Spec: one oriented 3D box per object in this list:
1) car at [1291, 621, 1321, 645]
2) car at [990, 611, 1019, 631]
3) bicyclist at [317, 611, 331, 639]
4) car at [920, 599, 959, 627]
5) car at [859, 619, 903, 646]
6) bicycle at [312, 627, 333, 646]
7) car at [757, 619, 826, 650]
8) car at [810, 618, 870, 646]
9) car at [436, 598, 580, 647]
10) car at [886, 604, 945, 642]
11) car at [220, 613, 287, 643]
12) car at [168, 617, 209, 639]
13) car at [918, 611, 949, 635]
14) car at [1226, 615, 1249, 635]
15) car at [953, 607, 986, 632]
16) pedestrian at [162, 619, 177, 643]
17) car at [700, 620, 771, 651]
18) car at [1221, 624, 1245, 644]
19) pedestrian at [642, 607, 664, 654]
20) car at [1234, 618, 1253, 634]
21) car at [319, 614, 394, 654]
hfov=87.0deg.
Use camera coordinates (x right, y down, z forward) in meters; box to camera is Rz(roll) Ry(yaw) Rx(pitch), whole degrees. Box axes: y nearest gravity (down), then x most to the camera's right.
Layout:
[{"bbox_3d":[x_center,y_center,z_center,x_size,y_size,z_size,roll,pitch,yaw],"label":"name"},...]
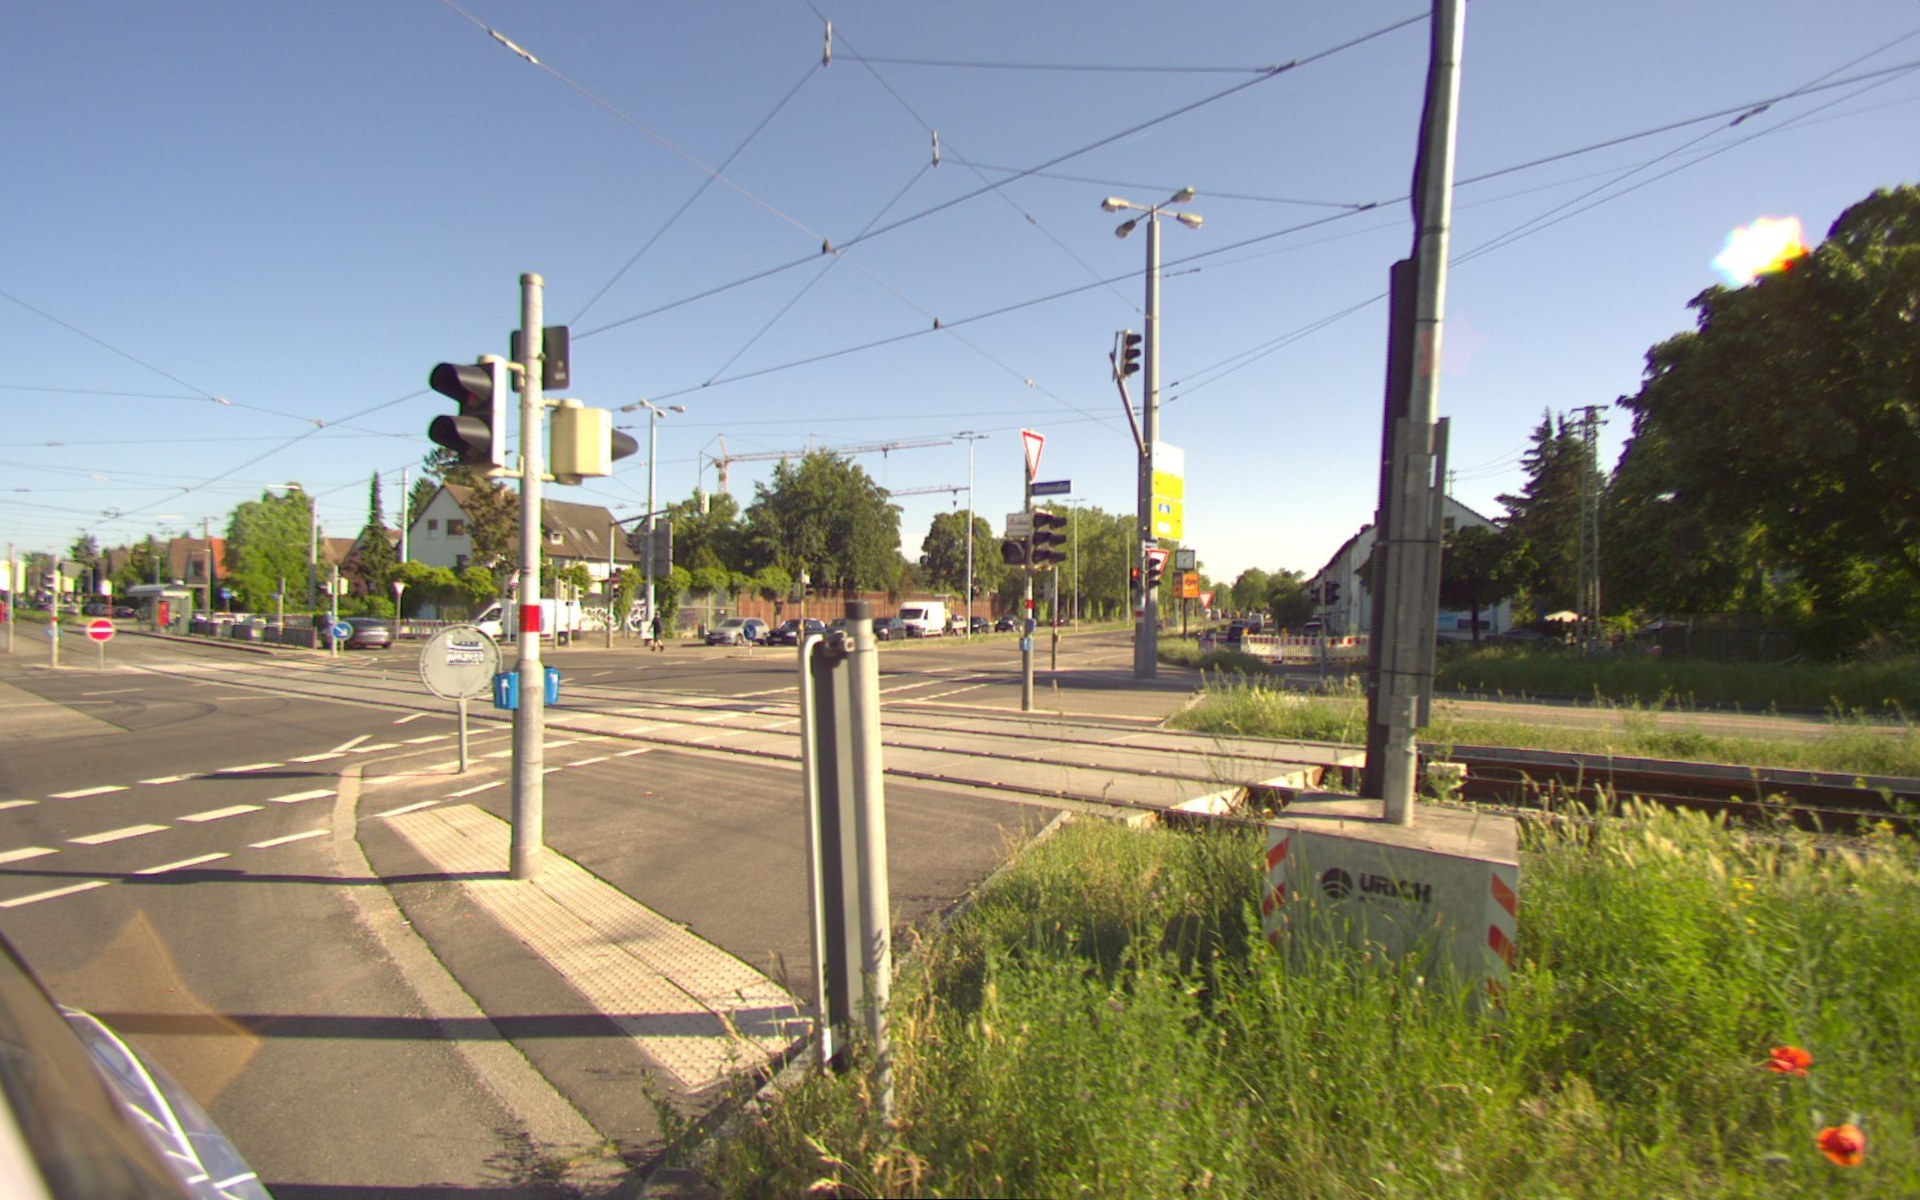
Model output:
[{"bbox_3d":[25.648,2.415,75.140,1.983,1.775,3.978,0,-1,17],"label":"car"},{"bbox_3d":[4.000,1.889,90.565,1.791,1.755,3.982,-1,-1,14],"label":"car"},{"bbox_3d":[-36.076,1.421,57.396,0.648,1.620,0.484,-1,-2,43],"label":"bicyclist"},{"bbox_3d":[-1.479,0.965,74.655,1.791,2.029,3.980,0,-1,15],"label":"car"},{"bbox_3d":[-4.843,1.986,62.315,1.485,1.579,3.507,-1,-1,17],"label":"car"},{"bbox_3d":[-36.295,2.069,57.587,1.949,1.050,0.501,-1,-2,43],"label":"bicycle"},{"bbox_3d":[-8.597,1.732,51.901,1.920,1.477,4.227,0,-1,15],"label":"car"},{"bbox_3d":[-6.746,1.794,57.127,1.920,1.477,4.237,-1,-1,15],"label":"car"},{"bbox_3d":[-23.878,1.190,53.575,6.751,2.476,2.356,1,-1,-27],"label":"car"},{"bbox_3d":[-2.948,1.568,68.799,2.163,2.429,5.887,0,-1,17],"label":"car"},{"bbox_3d":[-39.264,1.541,56.187,4.687,1.608,1.795,-1,-1,39],"label":"car"},{"bbox_3d":[-53.999,1.963,70.790,3.703,1.469,1.665,-1,-2,43],"label":"car"},{"bbox_3d":[-2.219,1.952,85.753,1.977,2.029,3.990,0,-1,8],"label":"car"},{"bbox_3d":[25.902,2.335,94.466,1.983,1.775,3.978,0,-1,16],"label":"car"},{"bbox_3d":[0.815,1.578,82.575,1.791,2.029,3.982,0,-1,14],"label":"car"},{"bbox_3d":[-48.038,1.878,61.495,0.711,1.425,0.615,-1,-2,41],"label":"pedestrian"},{"bbox_3d":[-11.604,1.815,52.678,1.657,1.488,4.613,0,-1,15],"label":"car"},{"bbox_3d":[24.315,3.004,89.960,1.983,1.775,3.978,0,-1,16],"label":"car"},{"bbox_3d":[-12.877,1.268,42.476,0.765,1.963,0.611,0,-1,0],"label":"pedestrian"},{"bbox_3d":[32.286,2.981,115.287,1.983,1.775,3.978,0,-1,16],"label":"car"},{"bbox_3d":[-27.054,1.476,45.320,4.000,1.700,1.772,-1,-2,42],"label":"car"}]
